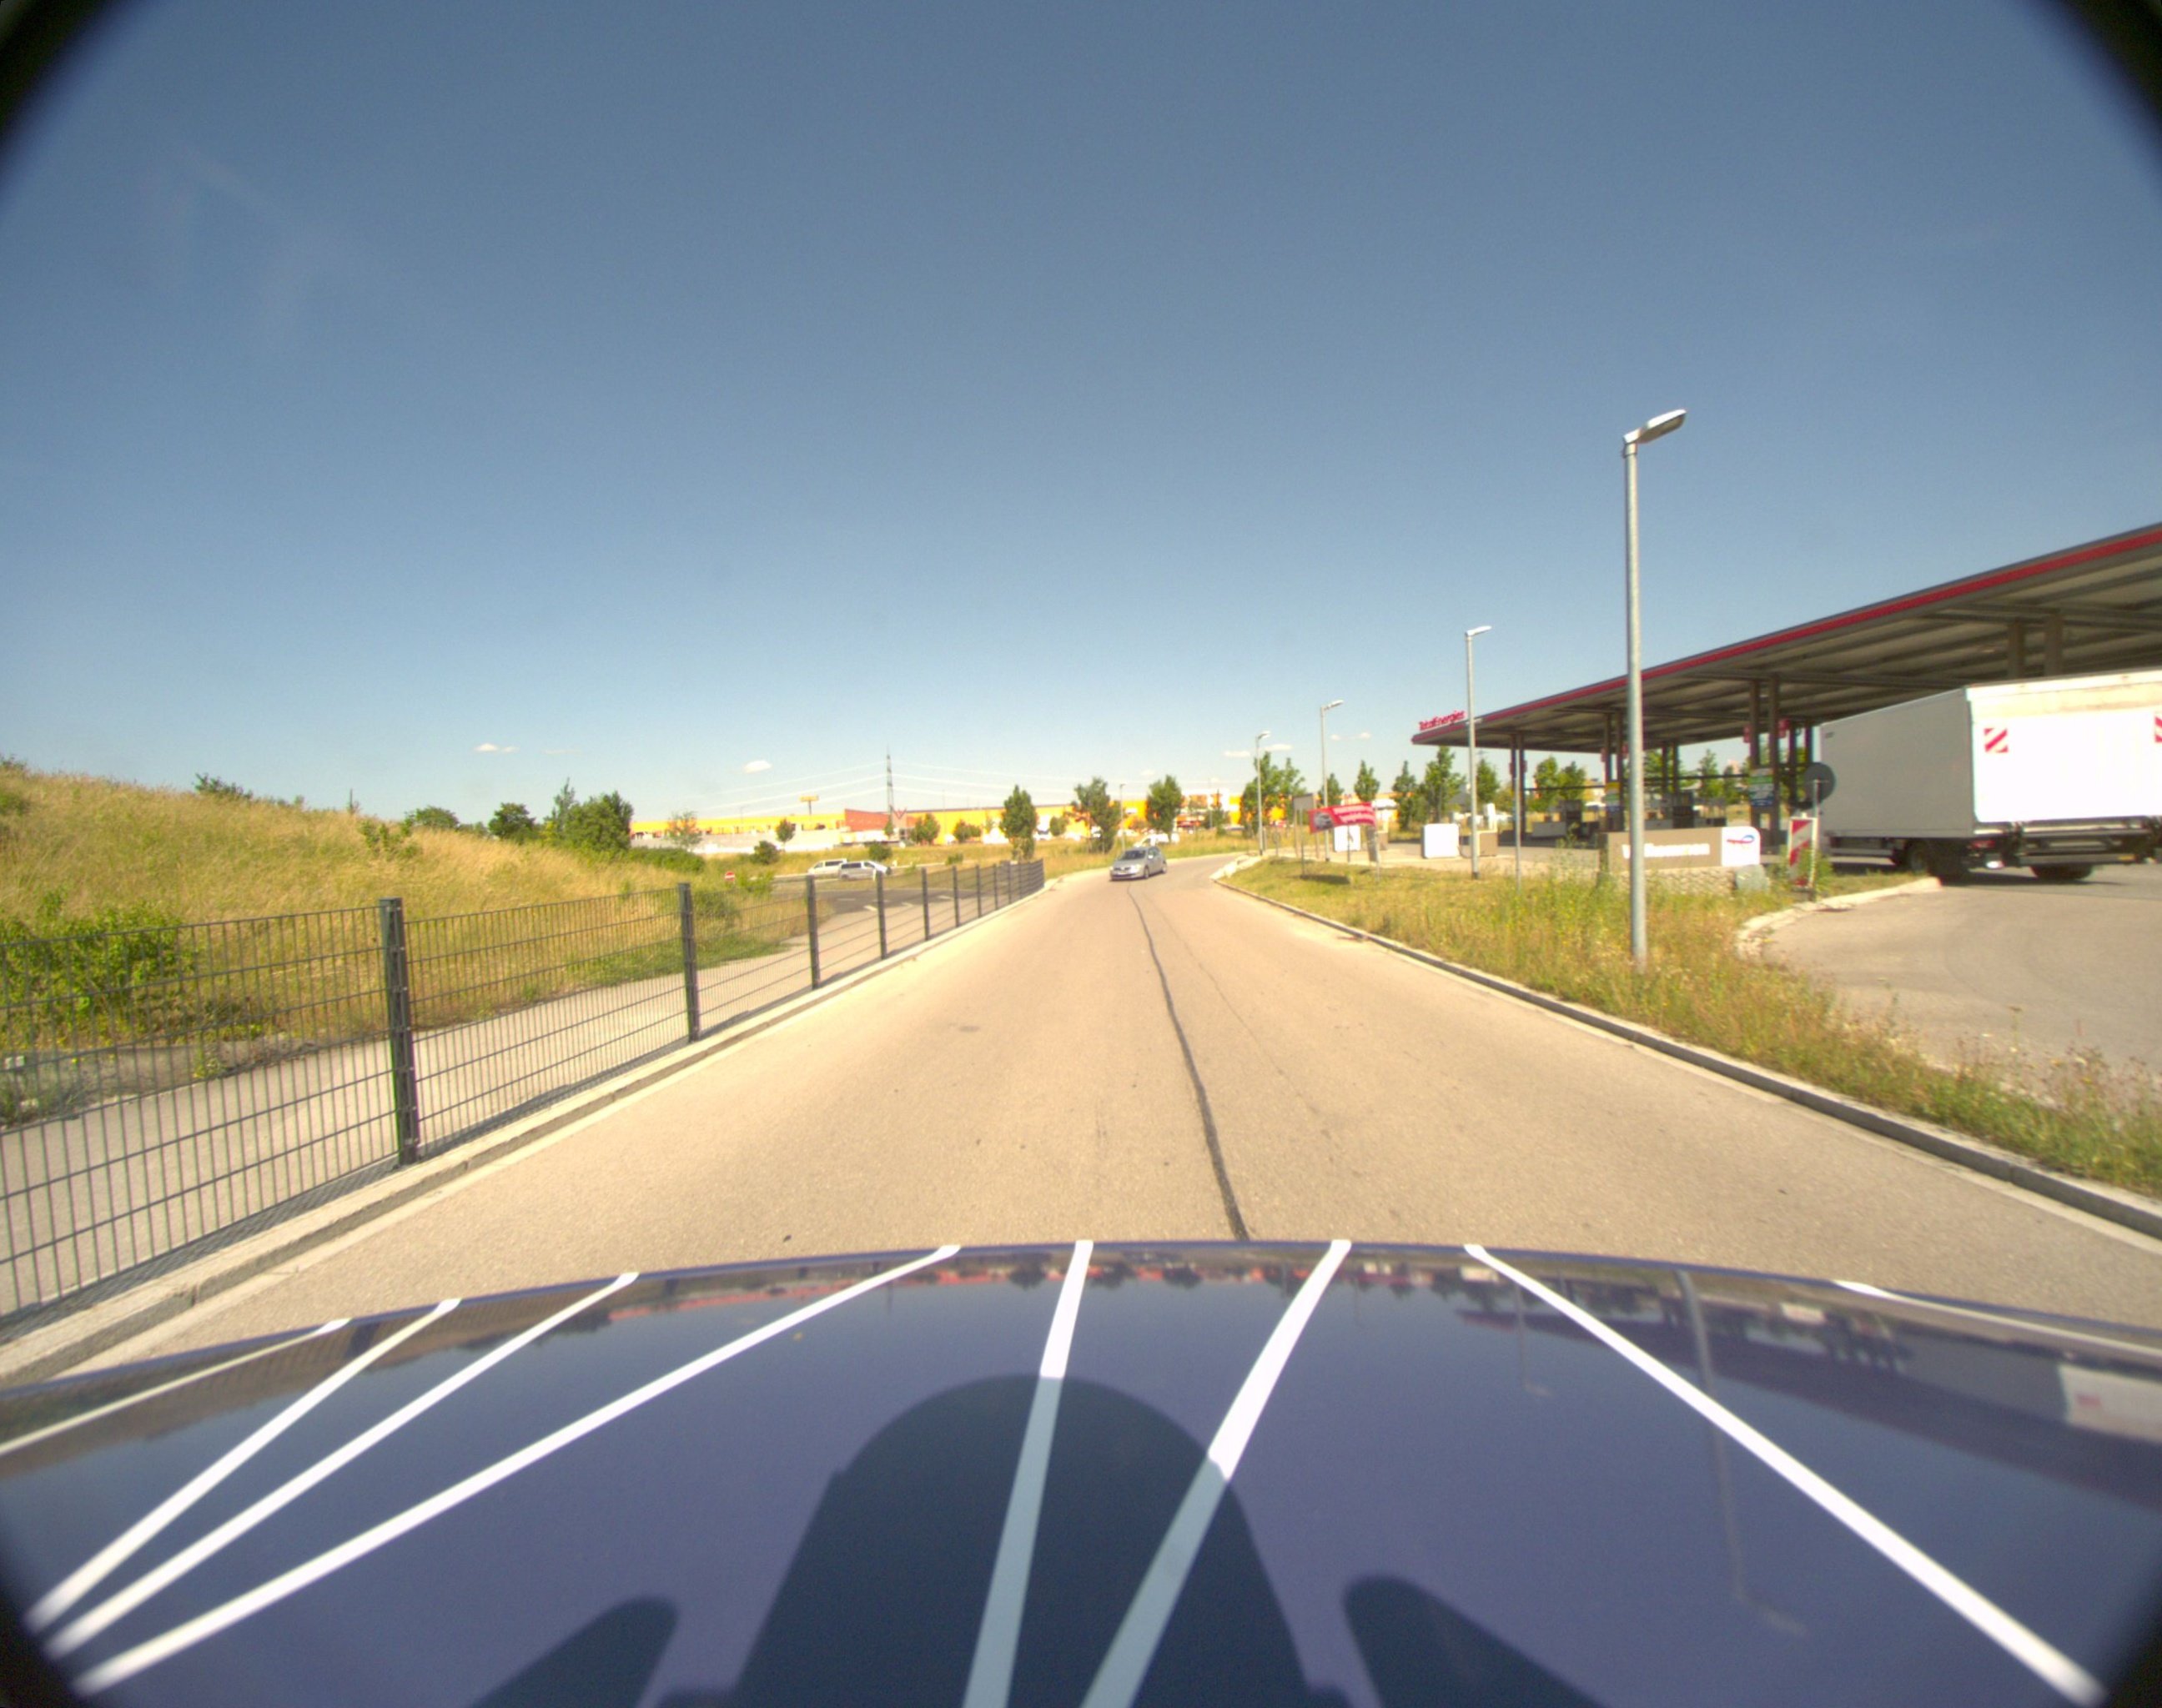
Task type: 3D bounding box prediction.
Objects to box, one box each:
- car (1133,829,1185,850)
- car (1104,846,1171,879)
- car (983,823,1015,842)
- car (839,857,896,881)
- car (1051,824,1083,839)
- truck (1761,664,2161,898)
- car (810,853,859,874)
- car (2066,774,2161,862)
[{"bbox_3d":[8.497,-1.576,82.860,5.252,2.002,1.999,-3,1,-3],"label":"car"},{"bbox_3d":[2.795,0.365,36.662,1.743,1.459,3.967,0,1,28],"label":"car"},{"bbox_3d":[-12.379,-3.268,115.139,4.634,2.534,1.999,-3,1,-2],"label":"car"},{"bbox_3d":[-20.267,1.442,72.328,4.756,2.002,1.999,-3,1,-1],"label":"car"},{"bbox_3d":[-2.133,-3.421,115.061,4.634,2.002,1.999,-3,1,-2],"label":"car"},{"bbox_3d":[16.224,-1.140,14.272,2.636,3.299,6.914,-3,1,20],"label":"truck"},{"bbox_3d":[-26.664,0.972,82.291,4.634,2.002,1.999,-3,1,-2],"label":"car"},{"bbox_3d":[23.880,-0.844,15.830,4.518,1.748,1.795,-3,1,-2],"label":"car"}]
